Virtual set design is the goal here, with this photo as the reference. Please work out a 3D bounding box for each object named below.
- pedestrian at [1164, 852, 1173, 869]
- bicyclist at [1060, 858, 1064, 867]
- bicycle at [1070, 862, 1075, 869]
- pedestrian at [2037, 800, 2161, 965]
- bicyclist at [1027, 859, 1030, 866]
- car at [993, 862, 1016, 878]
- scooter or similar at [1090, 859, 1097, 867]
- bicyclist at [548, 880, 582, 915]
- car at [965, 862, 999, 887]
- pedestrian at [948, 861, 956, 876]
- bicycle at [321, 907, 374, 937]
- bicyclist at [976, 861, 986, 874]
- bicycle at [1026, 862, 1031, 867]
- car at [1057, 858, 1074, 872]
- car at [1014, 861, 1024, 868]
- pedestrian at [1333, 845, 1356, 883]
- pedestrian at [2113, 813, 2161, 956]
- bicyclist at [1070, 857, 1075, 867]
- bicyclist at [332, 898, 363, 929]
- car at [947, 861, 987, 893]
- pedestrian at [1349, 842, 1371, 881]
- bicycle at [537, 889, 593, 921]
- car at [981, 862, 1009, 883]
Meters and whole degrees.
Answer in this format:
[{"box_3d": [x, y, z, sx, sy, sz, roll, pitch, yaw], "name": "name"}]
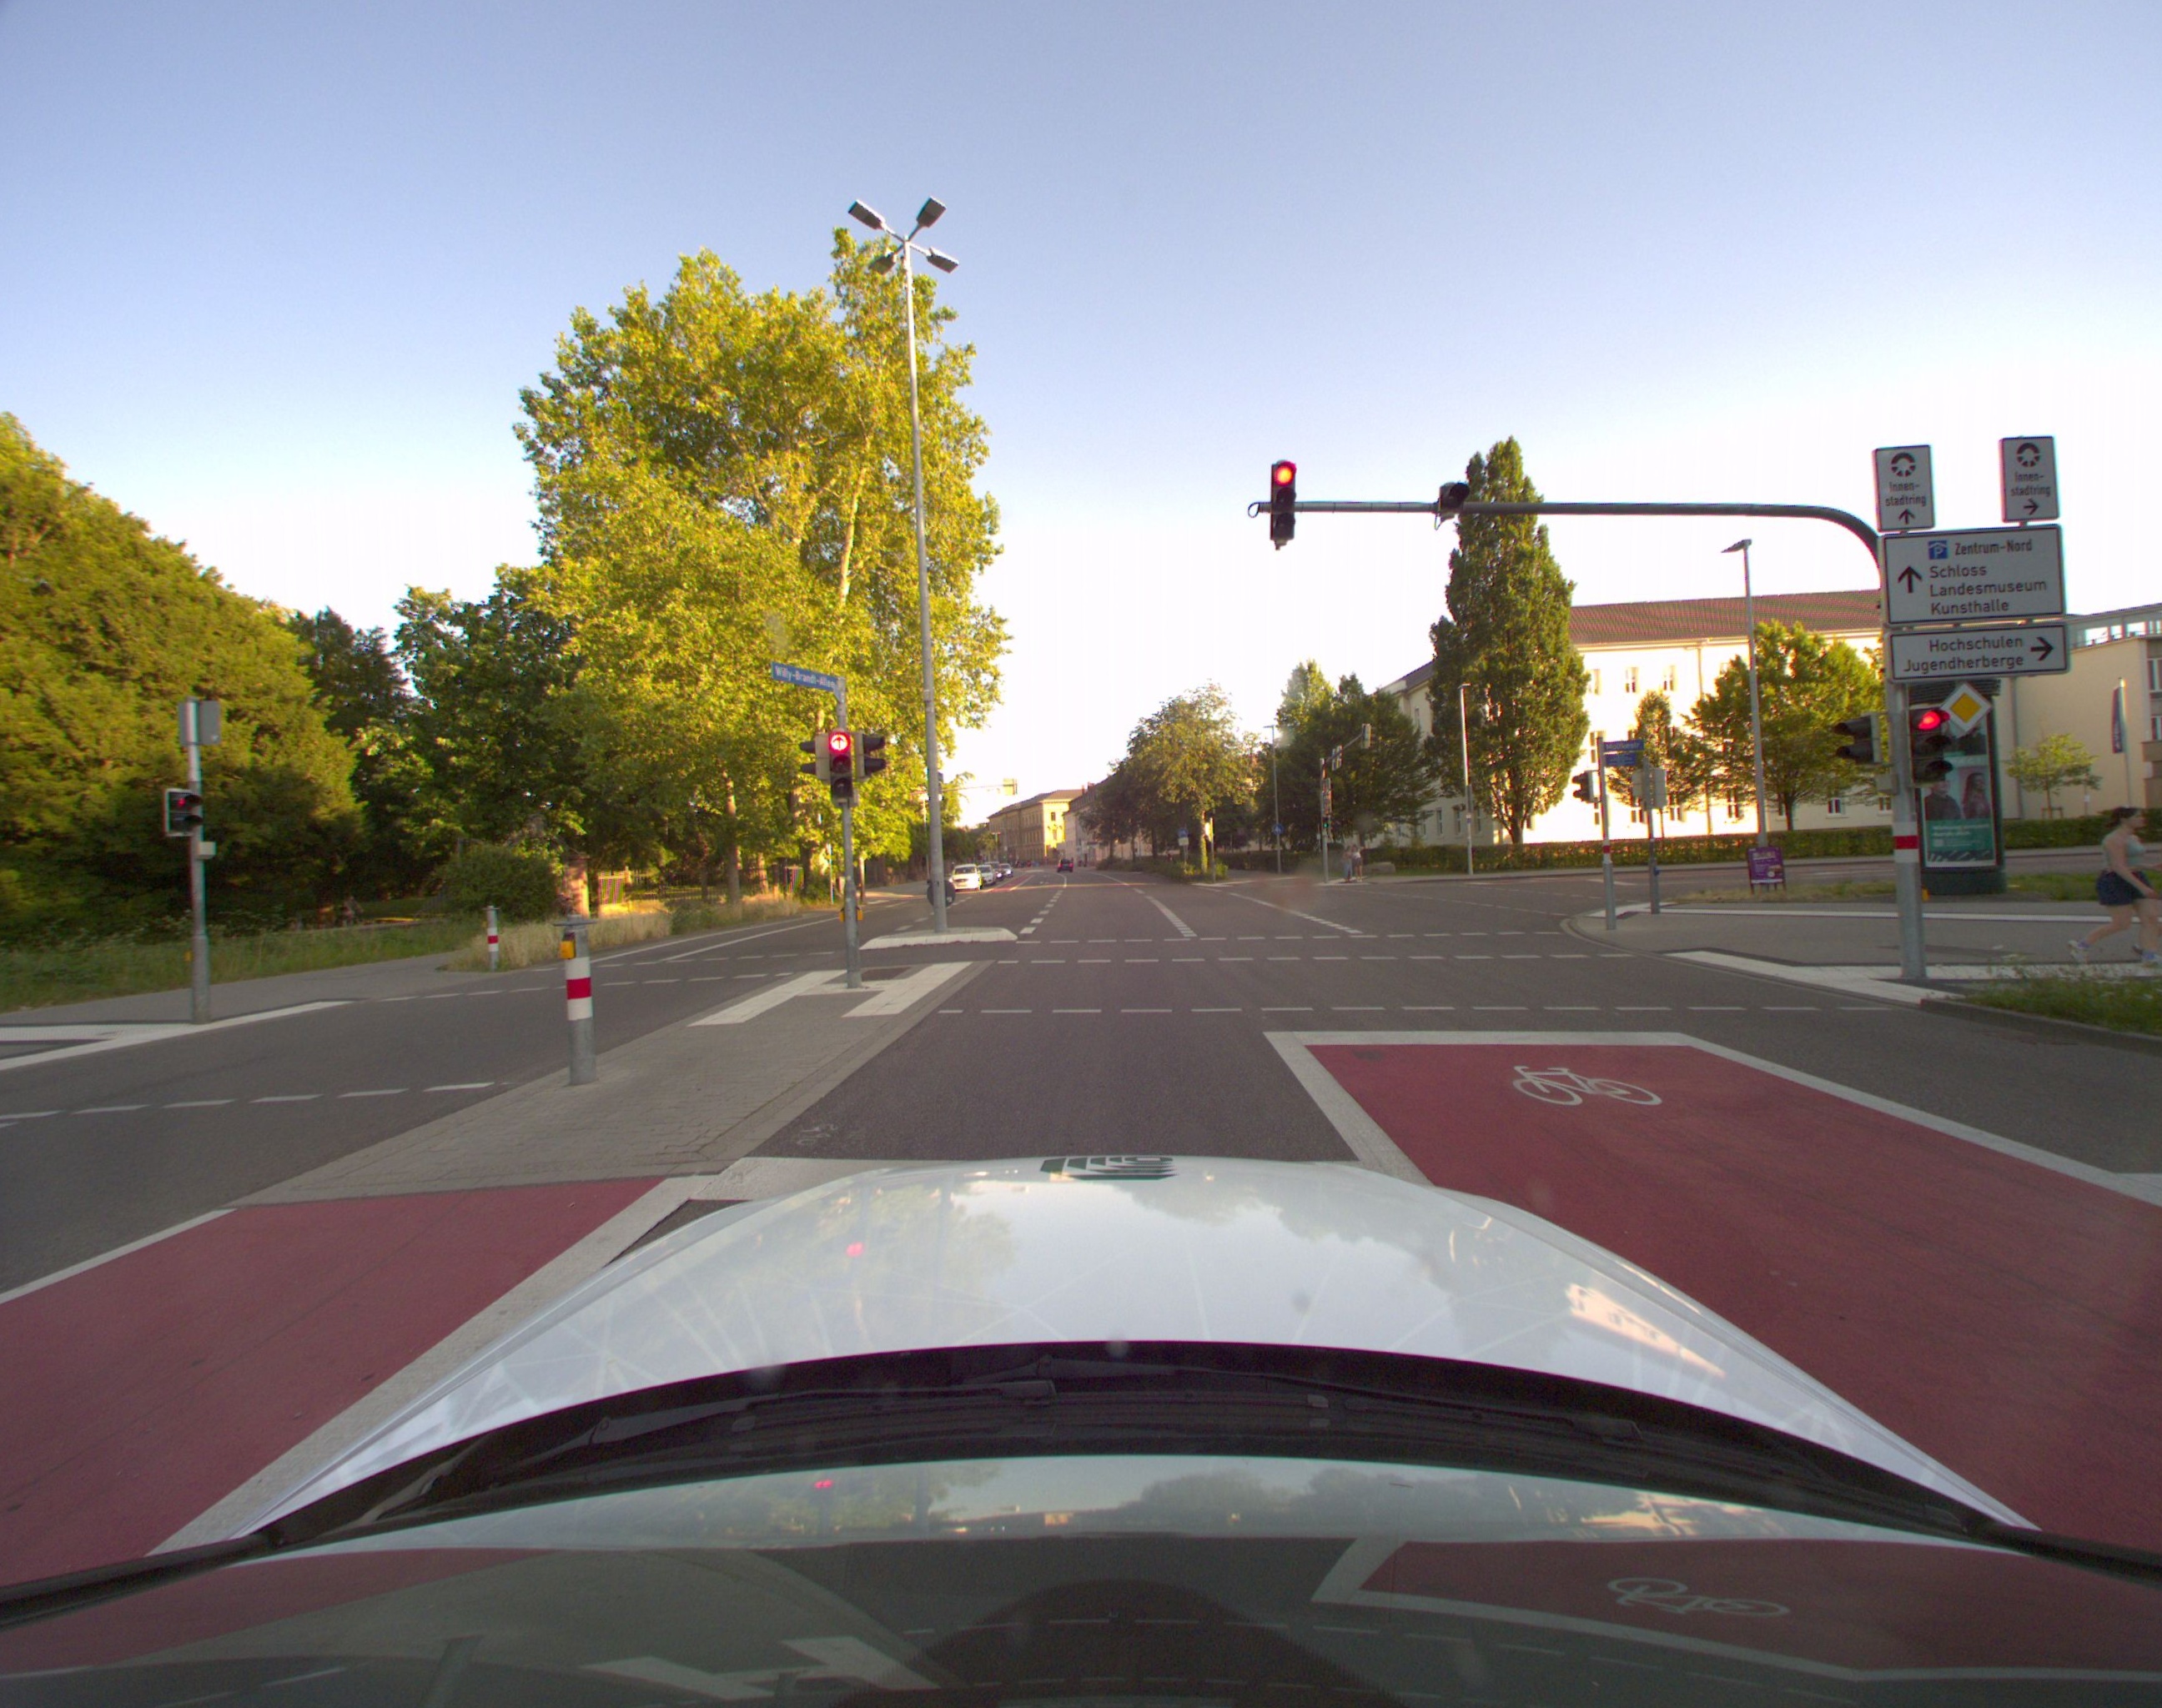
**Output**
[{"box_3d": [9.224, 0.670, 85.916, 0.769, 1.739, 0.805, -3, 0, -8], "name": "pedestrian"}, {"box_3d": [-2.916, 1.351, 126.234, 0.650, 1.446, 0.879, 0, -1, -2], "name": "bicyclist"}, {"box_3d": [-1.334, 1.752, 126.339, 0.650, 1.015, 2.194, 0, -1, -4], "name": "bicycle"}, {"box_3d": [11.052, 0.285, 8.682, 0.716, 1.660, 0.778, -3, 0, 5], "name": "pedestrian"}, {"box_3d": [-12.088, 1.931, 187.103, 0.652, 1.698, 0.953, 0, -1, -11], "name": "bicyclist"}, {"box_3d": [-7.760, 1.580, 82.846, 1.912, 1.417, 4.766, -5, 0, -2], "name": "car"}, {"box_3d": [2.256, 1.655, 145.513, 0.630, 1.337, 2.390, -2, -1, -12], "name": "scooter or similar"}, {"box_3d": [-22.289, 1.887, 35.203, 0.883, 1.427, 0.794, -3, -1, 11], "name": "bicyclist"}, {"box_3d": [-7.121, 1.465, 58.973, 1.912, 1.583, 4.670, -5, 0, -2], "name": "car"}, {"box_3d": [-14.506, 1.636, 91.711, 0.678, 1.622, 0.689, -3, 0, 1], "name": "pedestrian"}, {"box_3d": [-33.350, 3.079, 37.042, 1.631, 1.229, 0.569, -3, 0, -17], "name": "bicycle"}, {"box_3d": [-11.153, 1.475, 90.773, 0.852, 1.431, 0.944, -2, 0, 2], "name": "bicyclist"}, {"box_3d": [-12.048, 2.450, 186.903, 0.652, 1.015, 2.189, 0, -1, -11], "name": "bicycle"}, {"box_3d": [-1.794, 1.319, 94.419, 1.862, 1.510, 3.999, -2, -1, 0], "name": "car"}, {"box_3d": [-13.704, 2.307, 180.401, 1.915, 1.417, 4.756, -5, 0, -8], "name": "car"}, {"box_3d": [11.876, 0.443, 36.735, 0.678, 1.622, 0.845, -3, 0, 1], "name": "pedestrian"}, {"box_3d": [11.818, 0.309, 8.606, 0.731, 1.523, 0.790, -3, 0, 4], "name": "pedestrian"}, {"box_3d": [-1.340, 1.260, 126.345, 0.651, 1.475, 0.939, 0, -1, -4], "name": "bicyclist"}, {"box_3d": [-33.379, 2.700, 37.066, 0.838, 1.361, 0.569, -3, -1, -17], "name": "bicyclist"}, {"box_3d": [-7.016, 1.391, 50.630, 1.912, 1.695, 4.422, -5, 0, -2], "name": "car"}, {"box_3d": [12.578, 0.332, 36.731, 0.678, 1.754, 0.689, -3, 0, 1], "name": "pedestrian"}, {"box_3d": [-22.277, 2.195, 35.176, 1.961, 1.256, 0.794, -3, -1, 10], "name": "bicycle"}, {"box_3d": [-7.359, 1.565, 69.990, 1.912, 1.624, 4.635, -5, 0, -2], "name": "car"}]
